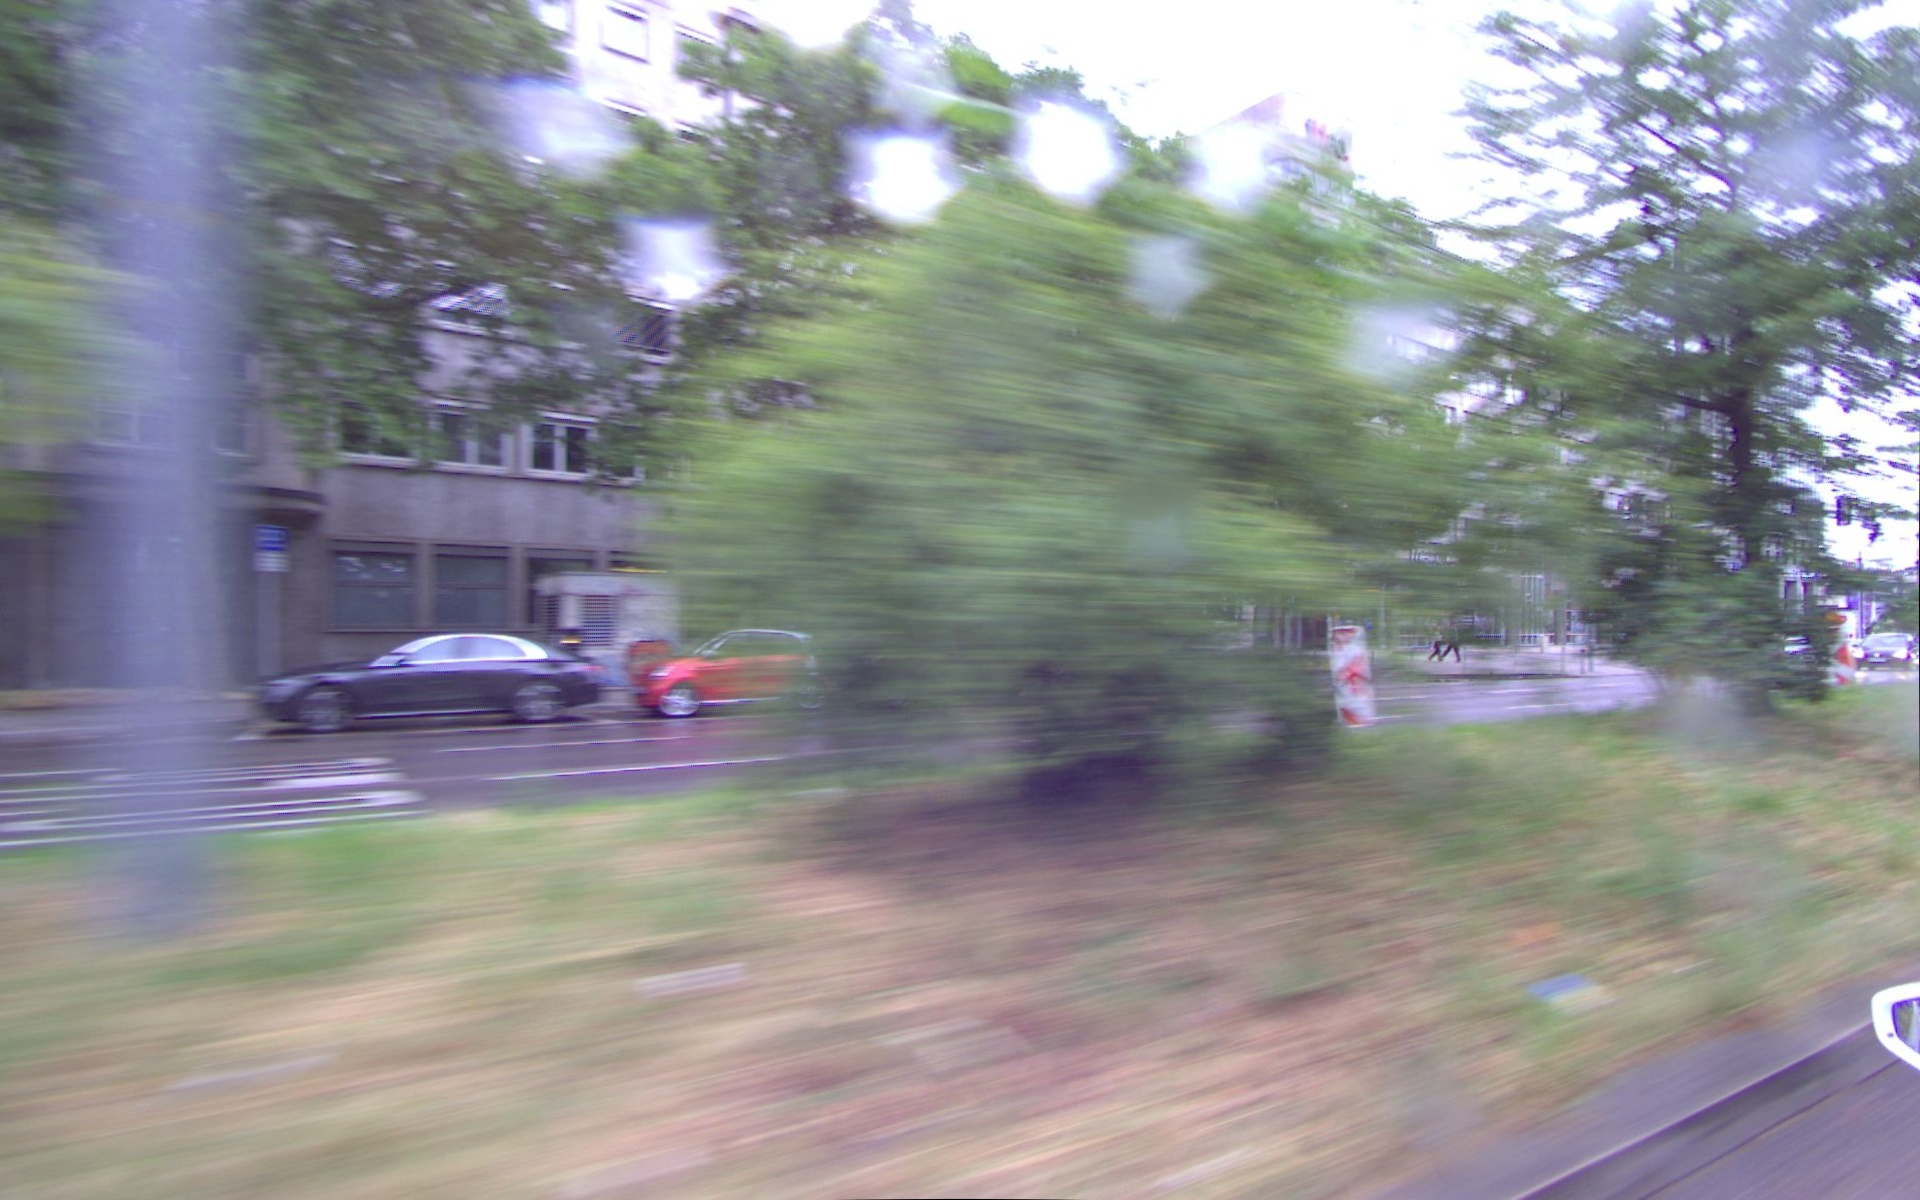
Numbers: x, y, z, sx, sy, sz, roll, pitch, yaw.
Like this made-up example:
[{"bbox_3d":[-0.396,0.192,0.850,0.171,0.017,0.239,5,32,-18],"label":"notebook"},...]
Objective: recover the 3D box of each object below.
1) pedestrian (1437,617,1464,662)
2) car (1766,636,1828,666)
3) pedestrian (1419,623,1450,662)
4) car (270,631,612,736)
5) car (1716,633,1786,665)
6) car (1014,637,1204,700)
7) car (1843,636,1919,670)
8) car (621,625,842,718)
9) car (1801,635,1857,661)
[{"bbox_3d":[21.460,1.722,43.907,0.669,1.943,0.838,1,-1,-31],"label":"pedestrian"},{"bbox_3d":[45.994,2.795,55.158,3.964,1.568,1.795,3,-3,-38],"label":"car"},{"bbox_3d":[20.466,1.832,43.330,0.669,1.667,0.989,1,-1,-30],"label":"pedestrian"},{"bbox_3d":[-8.140,1.276,16.022,4.621,1.453,1.759,2,-4,-33],"label":"car"},{"bbox_3d":[39.908,2.475,50.675,4.041,1.556,1.861,3,-3,-38],"label":"car"},{"bbox_3d":[3.677,1.638,24.458,4.605,1.412,1.758,2,-4,-34],"label":"car"},{"bbox_3d":[37.511,2.129,40.805,3.965,1.328,1.792,1,-3,-38],"label":"car"},{"bbox_3d":[-4.134,1.283,18.309,3.588,1.539,1.677,2,-4,-34],"label":"car"},{"bbox_3d":[50.522,2.813,58.373,3.559,1.470,1.714,3,-3,-36],"label":"car"}]
